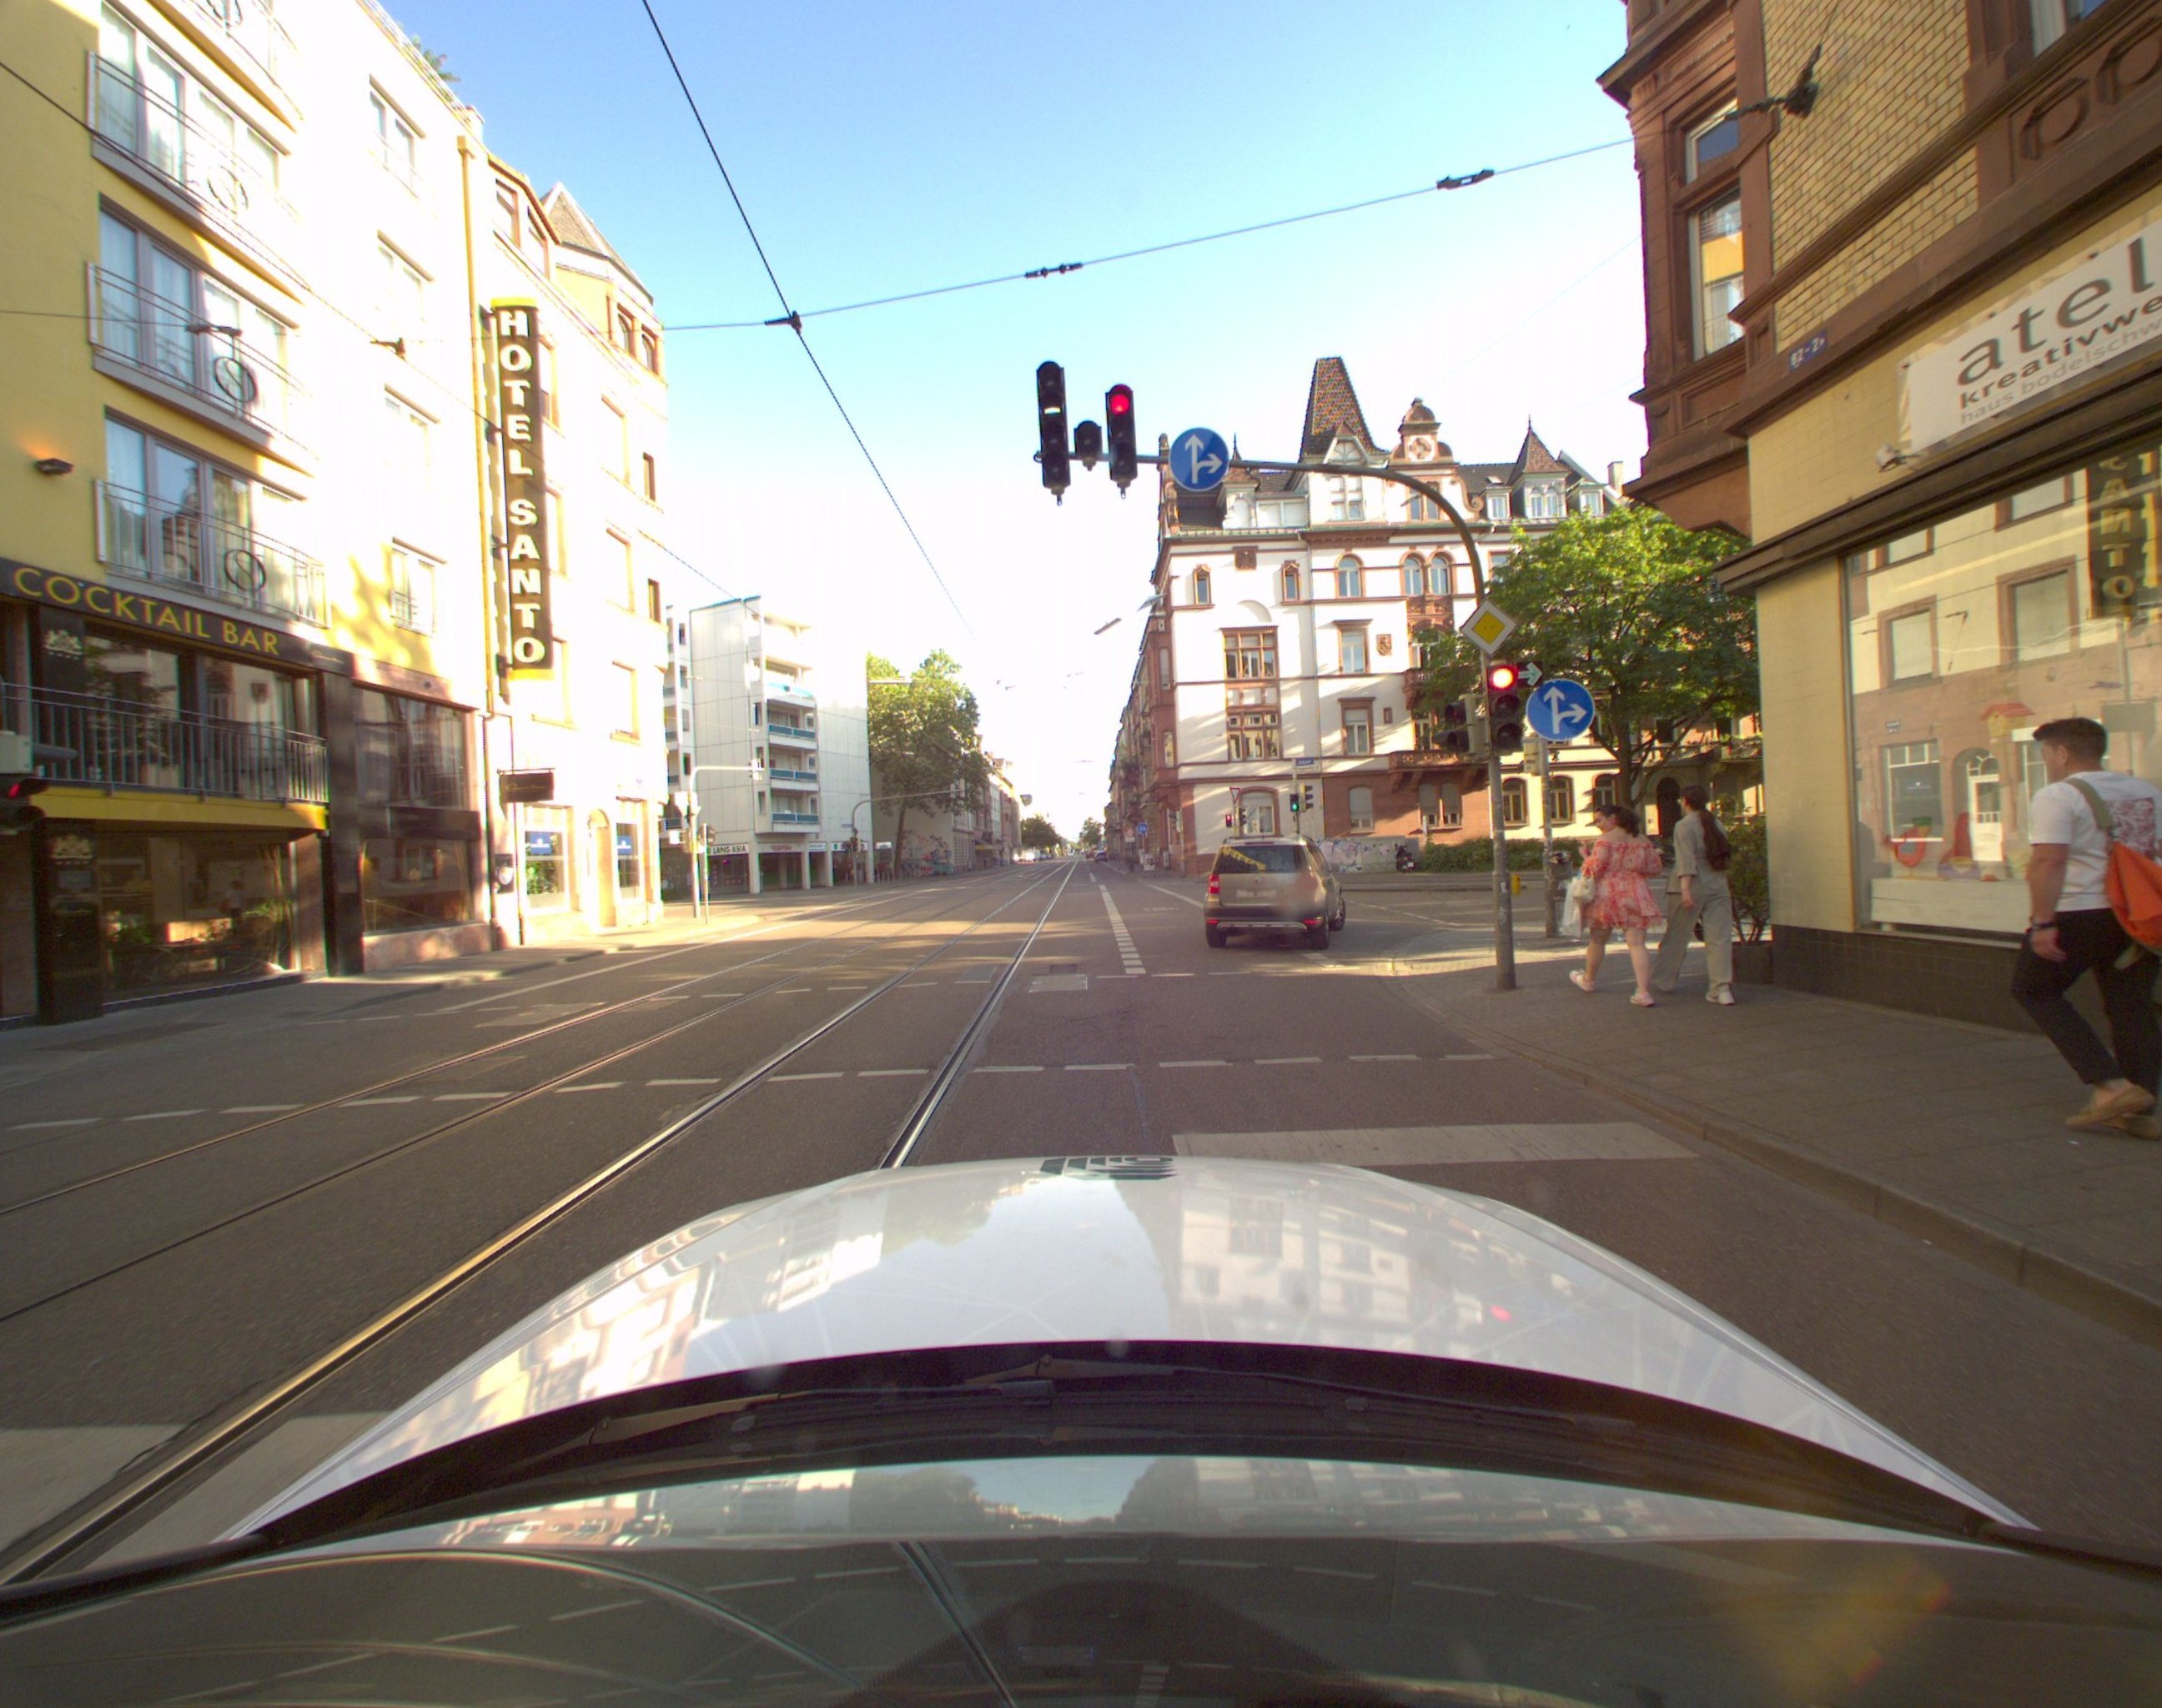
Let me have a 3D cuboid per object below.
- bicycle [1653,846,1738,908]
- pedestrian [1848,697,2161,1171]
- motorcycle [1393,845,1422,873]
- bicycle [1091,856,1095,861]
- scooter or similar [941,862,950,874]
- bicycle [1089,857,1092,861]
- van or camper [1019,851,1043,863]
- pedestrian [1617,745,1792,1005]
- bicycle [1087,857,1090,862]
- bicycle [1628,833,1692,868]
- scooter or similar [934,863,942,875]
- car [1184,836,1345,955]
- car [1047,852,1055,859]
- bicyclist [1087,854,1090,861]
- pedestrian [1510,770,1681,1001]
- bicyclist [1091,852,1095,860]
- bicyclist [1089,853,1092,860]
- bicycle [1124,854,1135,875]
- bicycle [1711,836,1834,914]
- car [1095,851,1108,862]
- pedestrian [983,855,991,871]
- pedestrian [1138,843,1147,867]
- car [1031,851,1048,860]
[{"bbox_3d":[10.987,0.409,14.599,0.773,1.045,1.066,-3,-2,10],"label":"bicycle"},{"bbox_3d":[4.412,0.265,3.614,0.803,1.799,1.091,-7,1,-1],"label":"pedestrian"},{"bbox_3d":[13.812,0.199,34.517,0.714,1.020,2.295,-3,2,12],"label":"motorcycle"},{"bbox_3d":[2.366,0.872,159.504,0.573,1.030,1.895,-3,0,1],"label":"bicycle"},{"bbox_3d":[-12.571,1.319,75.542,0.515,1.057,1.477,-3,0,-2],"label":"scooter or similar"},{"bbox_3d":[2.394,1.167,198.342,0.573,1.030,1.895,-3,0,1],"label":"bicycle"},{"bbox_3d":[-10.811,0.631,174.552,4.665,2.563,1.980,-2,-1,-31],"label":"van or camper"},{"bbox_3d":[4.978,0.155,6.546,0.689,1.908,0.670,-7,0,-2],"label":"pedestrian"},{"bbox_3d":[1.758,1.182,186.506,0.573,1.030,1.895,-3,0,1],"label":"bicycle"},{"bbox_3d":[21.094,-0.133,29.685,1.840,1.161,0.563,-3,1,37],"label":"bicycle"},{"bbox_3d":[-13.230,1.351,75.501,0.515,1.045,1.477,-3,0,-2],"label":"scooter or similar"},{"bbox_3d":[3.144,0.561,13.305,1.976,1.618,4.021,-1,0,21],"label":"car"},{"bbox_3d":[-8.735,0.336,236.156,1.987,2.013,3.999,-3,0,-1],"label":"car"},{"bbox_3d":[1.730,0.736,186.502,0.573,1.494,0.795,-3,0,1],"label":"bicyclist"},{"bbox_3d":[4.412,0.254,7.042,0.803,1.799,0.761,-7,0,-2],"label":"pedestrian"},{"bbox_3d":[2.339,0.373,159.500,0.573,1.554,0.595,-3,0,1],"label":"bicyclist"},{"bbox_3d":[2.356,0.584,198.330,0.573,1.678,0.795,-3,0,1],"label":"bicyclist"},{"bbox_3d":[3.299,0.690,55.114,0.651,1.323,2.178,-3,0,3],"label":"bicycle"},{"bbox_3d":[11.673,0.353,13.838,0.502,1.223,1.923,-3,-2,4],"label":"bicycle"},{"bbox_3d":[3.096,0.364,124.460,1.943,1.684,4.001,-3,0,1],"label":"car"},{"bbox_3d":[-10.208,1.008,88.417,0.699,1.728,0.647,-3,0,0],"label":"pedestrian"},{"bbox_3d":[4.712,0.076,62.211,0.543,1.780,0.504,-3,0,1],"label":"pedestrian"},{"bbox_3d":[-10.691,0.319,209.895,4.007,2.013,1.983,-3,0,-25],"label":"car"}]
